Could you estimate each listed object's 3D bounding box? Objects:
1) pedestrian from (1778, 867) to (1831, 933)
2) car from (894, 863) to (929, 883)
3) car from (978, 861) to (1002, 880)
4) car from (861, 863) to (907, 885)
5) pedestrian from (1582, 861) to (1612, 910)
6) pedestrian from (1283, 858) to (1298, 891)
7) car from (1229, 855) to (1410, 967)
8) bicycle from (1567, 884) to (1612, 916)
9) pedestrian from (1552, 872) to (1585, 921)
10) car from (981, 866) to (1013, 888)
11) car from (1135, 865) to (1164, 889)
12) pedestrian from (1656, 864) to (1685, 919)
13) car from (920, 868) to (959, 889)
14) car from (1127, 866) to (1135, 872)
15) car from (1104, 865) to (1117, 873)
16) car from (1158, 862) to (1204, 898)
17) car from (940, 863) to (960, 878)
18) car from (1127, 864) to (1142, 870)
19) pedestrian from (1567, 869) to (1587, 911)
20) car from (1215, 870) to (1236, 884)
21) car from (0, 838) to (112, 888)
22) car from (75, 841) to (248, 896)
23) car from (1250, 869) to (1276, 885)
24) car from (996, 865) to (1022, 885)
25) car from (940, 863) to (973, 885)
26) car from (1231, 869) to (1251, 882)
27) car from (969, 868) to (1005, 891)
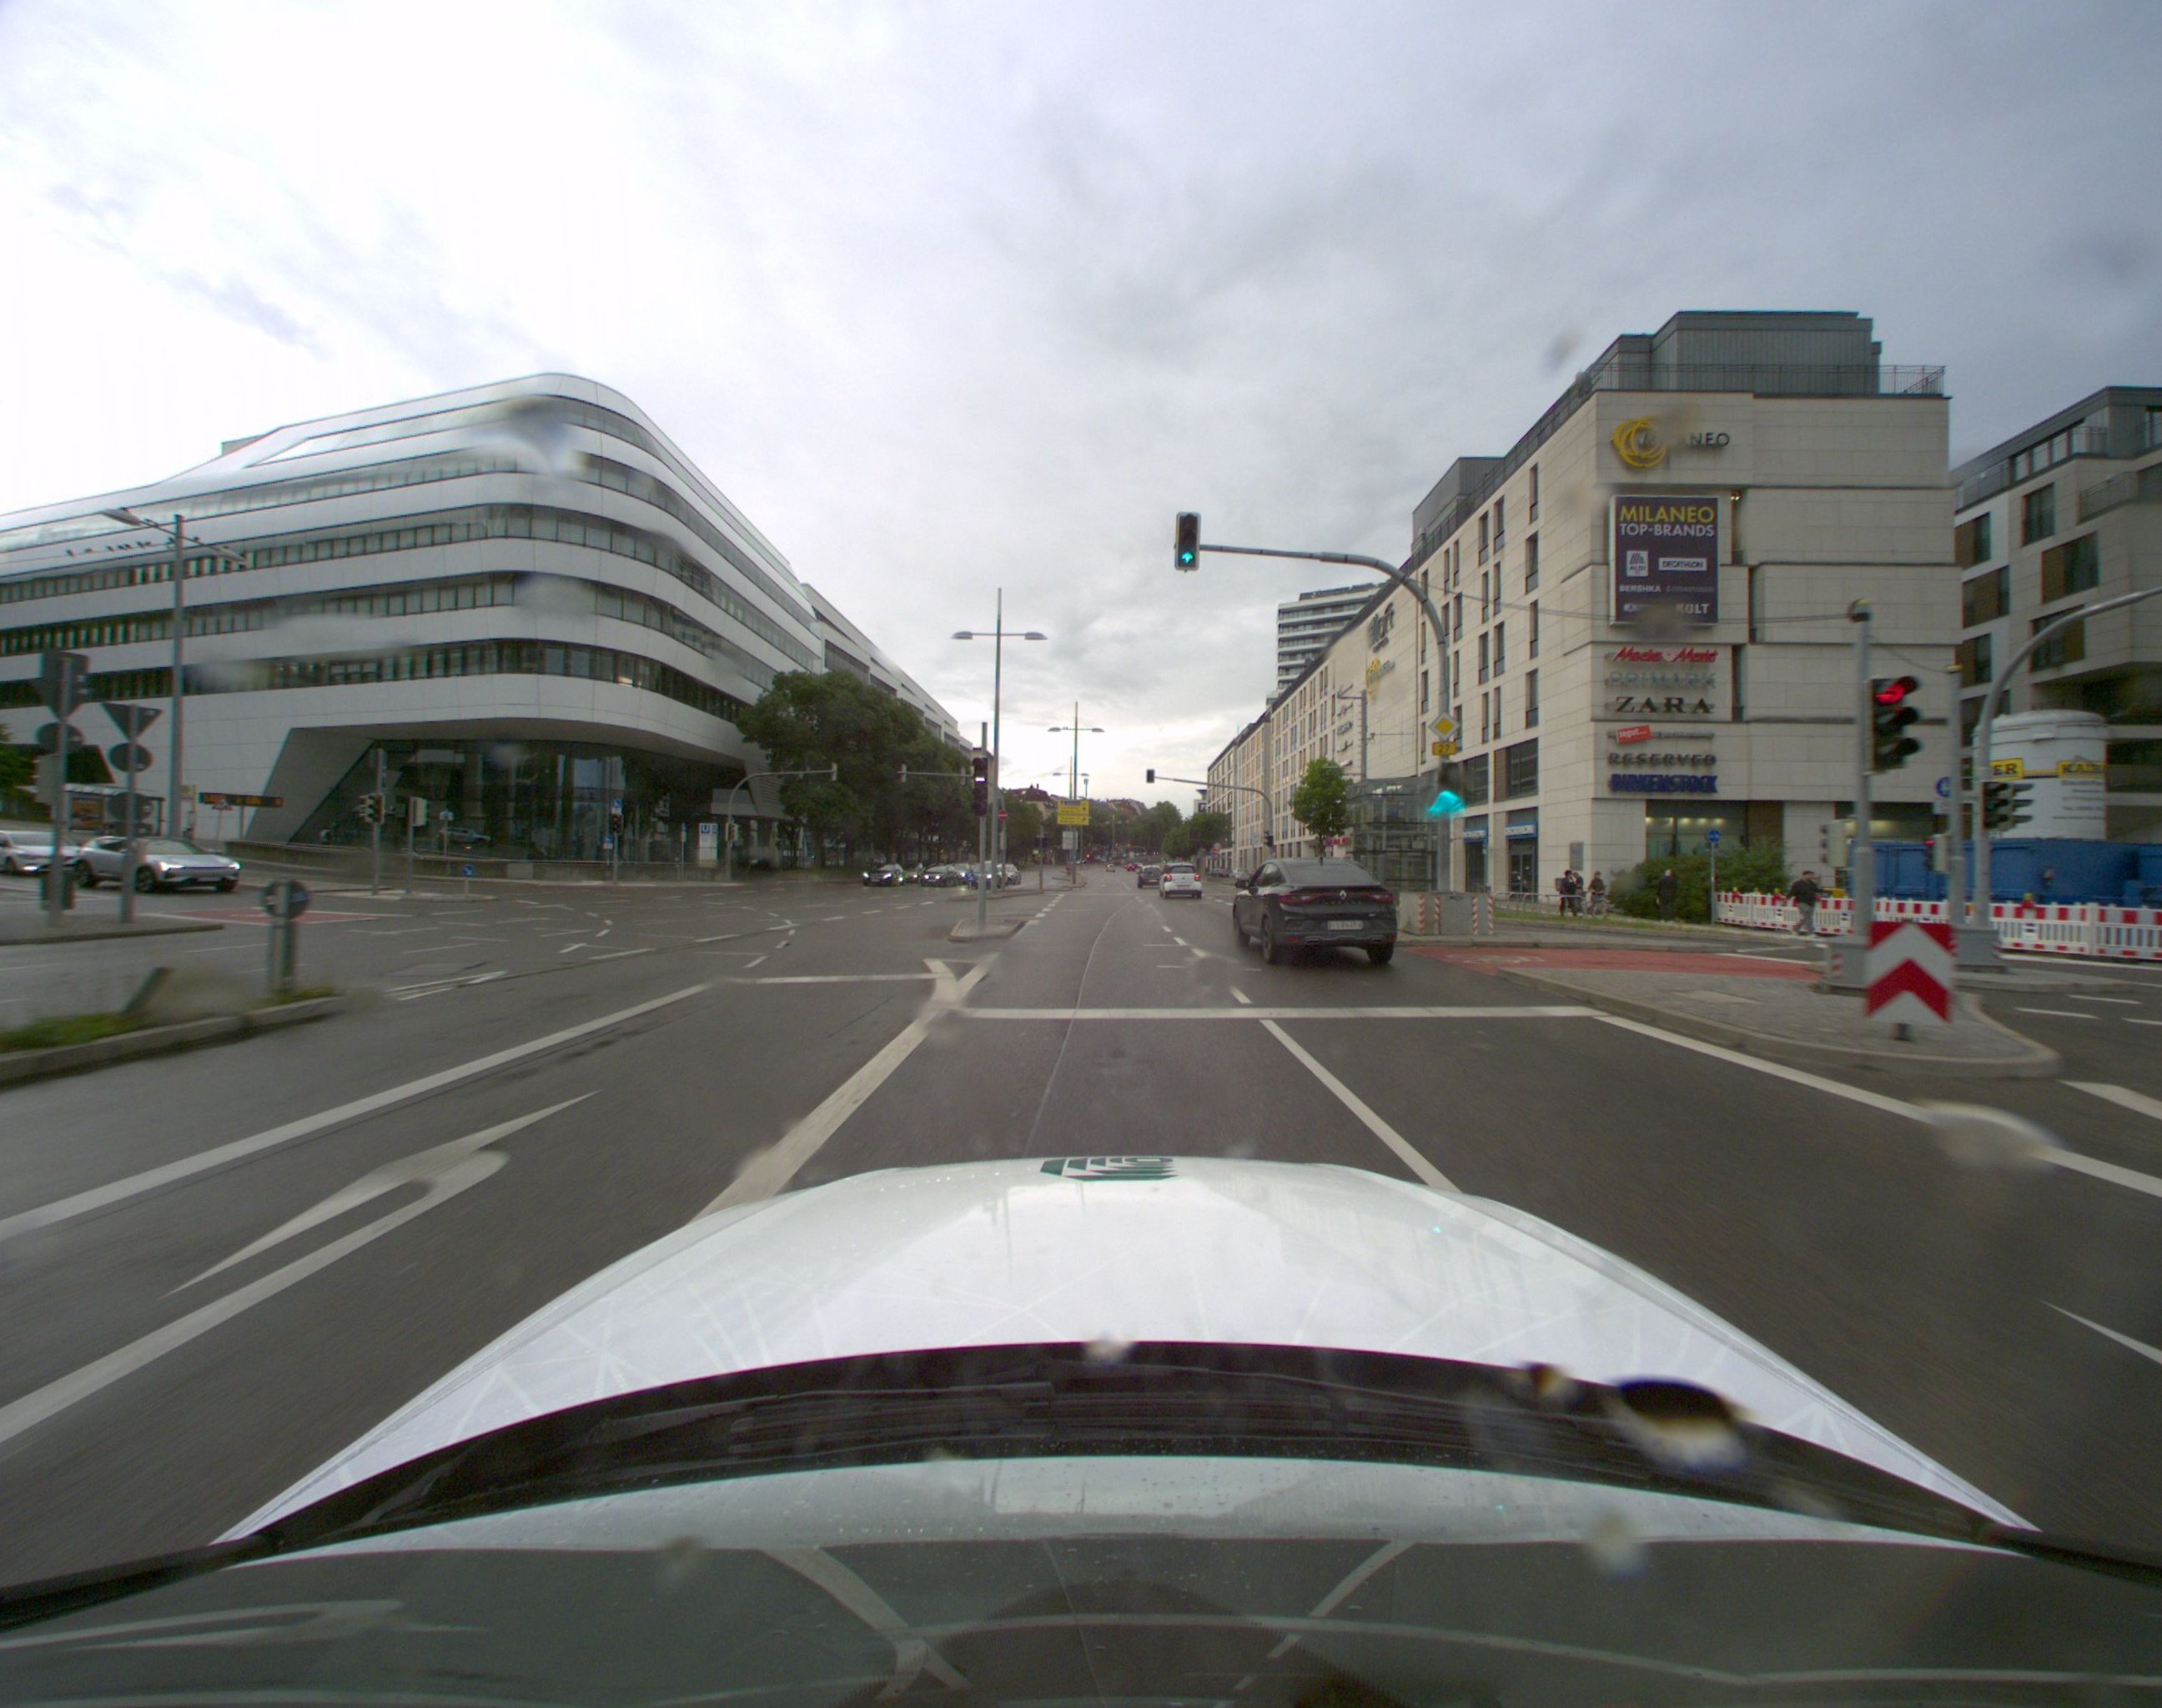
[{"bbox_3d":[18.588,1.173,20.938,0.619,1.672,0.824,0,-2,2],"label":"pedestrian"},{"bbox_3d":[-12.377,1.420,59.628,1.736,1.424,3.541,0,-2,2],"label":"car"},{"bbox_3d":[-8.395,1.532,75.537,1.736,1.748,3.541,0,-2,2],"label":"car"},{"bbox_3d":[-12.315,1.248,51.104,1.736,1.328,4.227,0,-1,2],"label":"car"},{"bbox_3d":[17.228,1.037,27.199,0.548,1.611,0.698,0,-2,2],"label":"pedestrian"},{"bbox_3d":[11.732,1.150,45.616,0.724,1.832,0.510,0,-2,1],"label":"pedestrian"},{"bbox_3d":[3.612,0.775,13.168,1.784,1.507,4.340,0,0,2],"label":"car"},{"bbox_3d":[16.943,1.518,27.178,0.447,1.016,1.743,0,-2,2],"label":"bicycle"},{"bbox_3d":[16.259,1.394,27.185,0.610,1.611,0.819,0,-2,2],"label":"pedestrian"},{"bbox_3d":[-6.012,1.658,58.872,1.696,1.559,4.246,0,-2,2],"label":"car"},{"bbox_3d":[4.506,1.497,54.179,1.733,1.532,3.815,0,-2,2],"label":"car"},{"bbox_3d":[19.396,1.214,26.806,0.441,1.780,0.590,1,-2,-25],"label":"pedestrian"},{"bbox_3d":[-9.132,1.554,52.725,1.736,1.257,3.541,1,0,2],"label":"car"},{"bbox_3d":[11.566,3.505,190.150,1.733,1.532,3.815,0,-2,2],"label":"car"},{"bbox_3d":[6.473,3.273,178.589,1.744,1.531,3.791,0,-1,-17],"label":"car"},{"bbox_3d":[4.415,1.145,36.377,1.718,1.532,3.815,0,-2,2],"label":"car"},{"bbox_3d":[-15.779,2.037,98.160,1.736,1.748,3.541,0,-2,2],"label":"car"},{"bbox_3d":[14.768,3.683,225.062,3.803,1.531,1.739,0,-1,-11],"label":"car"},{"bbox_3d":[19.662,1.422,32.292,0.588,1.642,0.591,-1,-2,26],"label":"pedestrian"},{"bbox_3d":[15.781,2.508,89.099,1.655,1.401,3.833,0,-2,2],"label":"car"},{"bbox_3d":[-36.182,0.351,28.246,3.955,1.631,1.903,-1,-2,18],"label":"car"},{"bbox_3d":[-28.811,0.474,25.533,4.466,1.631,1.903,-1,-2,17],"label":"car"},{"bbox_3d":[15.575,1.975,69.738,1.500,1.266,3.503,0,-2,2],"label":"car"},{"bbox_3d":[-5.616,1.651,63.678,1.532,1.478,3.697,0,-2,2],"label":"car"},{"bbox_3d":[-9.098,1.479,59.701,1.736,1.559,3.541,0,-2,2],"label":"car"},{"bbox_3d":[16.365,2.230,83.517,1.500,1.266,3.503,0,-2,2],"label":"car"},{"bbox_3d":[-5.913,1.605,51.558,1.736,1.445,3.396,0,-2,2],"label":"car"}]
